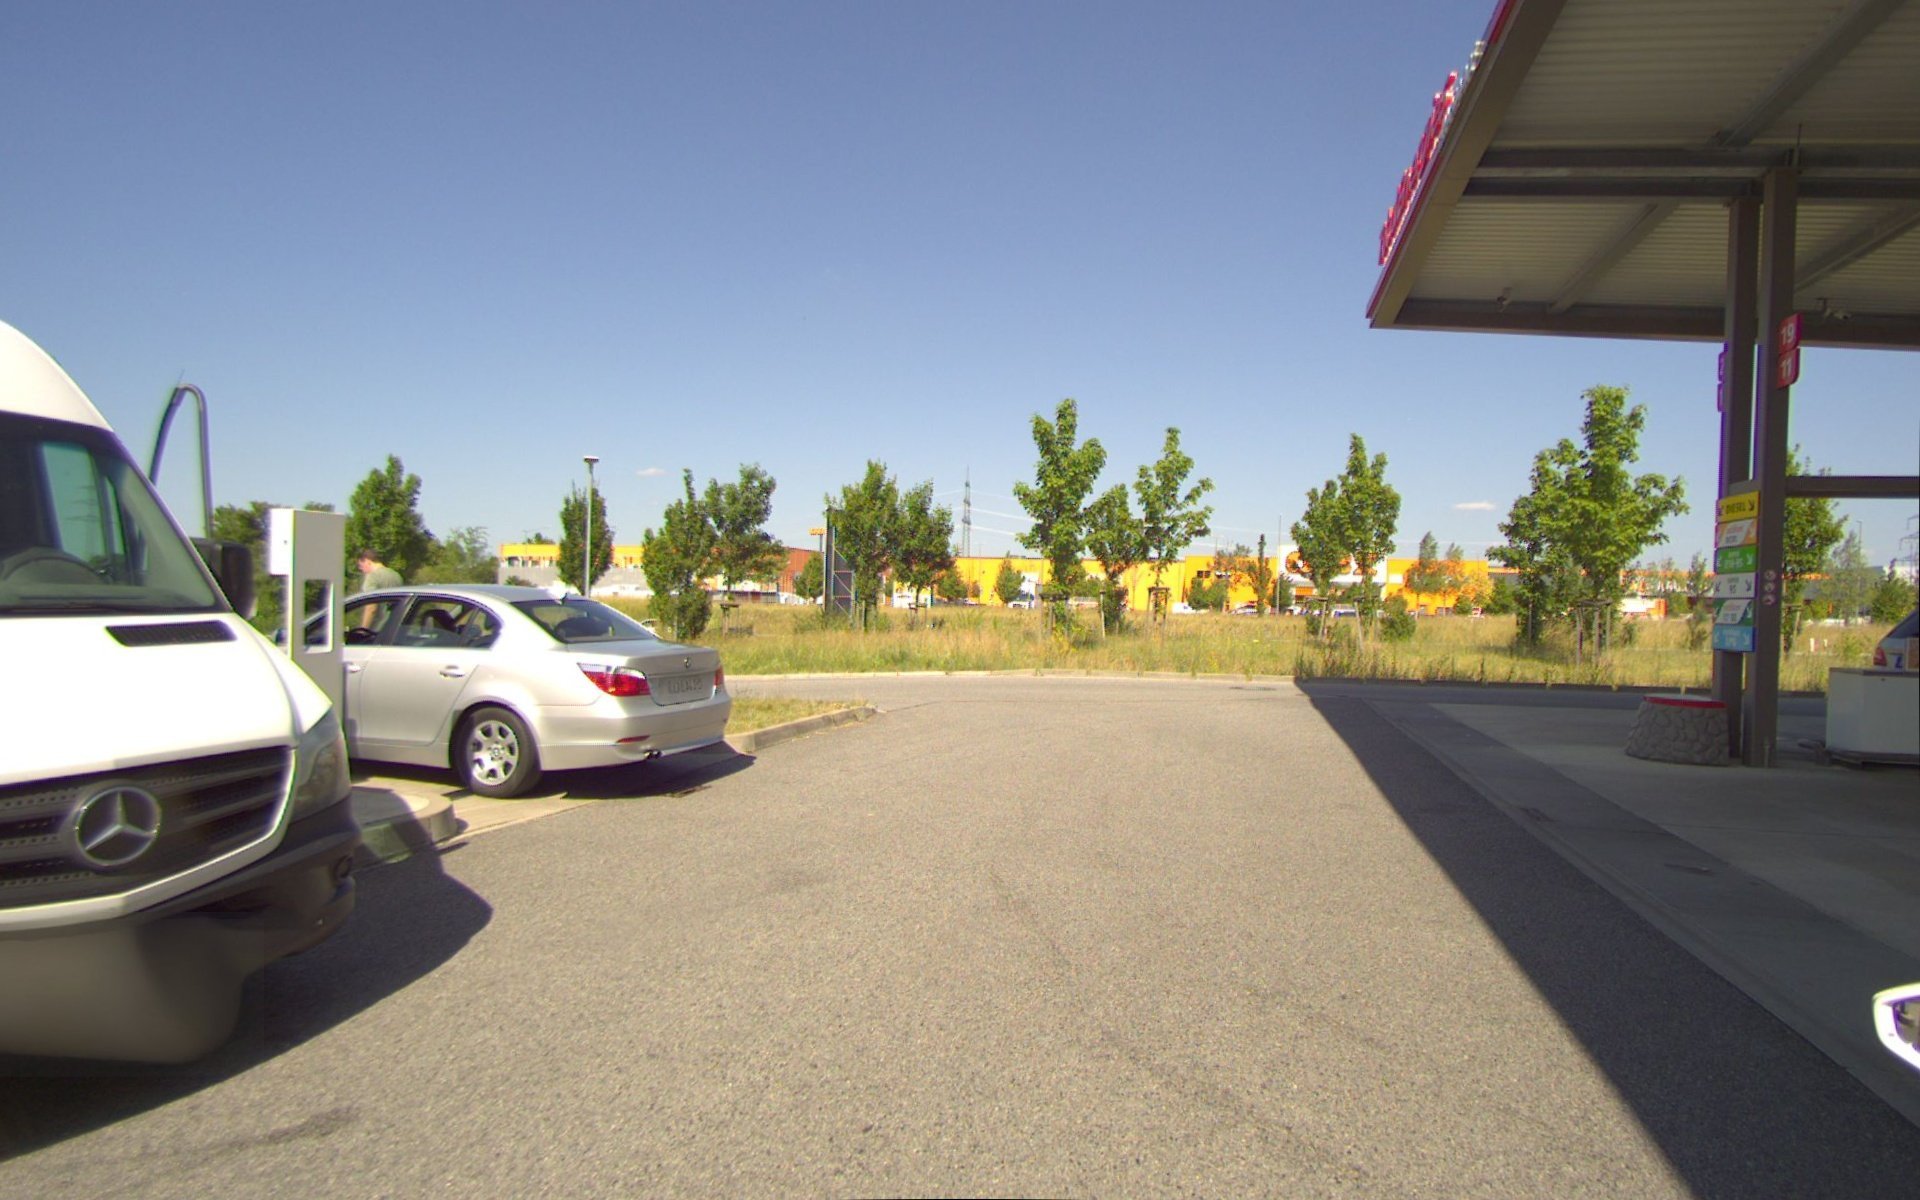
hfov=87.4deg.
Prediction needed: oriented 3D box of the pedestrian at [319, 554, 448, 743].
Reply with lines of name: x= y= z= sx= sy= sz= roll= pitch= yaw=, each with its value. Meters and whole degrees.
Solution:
pedestrian: x=-5.603 y=0.456 z=9.799 sx=0.828 sy=1.772 sz=0.709 roll=0 pitch=0 yaw=5

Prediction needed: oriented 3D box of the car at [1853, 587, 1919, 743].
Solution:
car: x=12.745 y=0.723 z=10.726 sx=4.444 sy=1.710 sz=1.867 roll=0 pitch=0 yaw=12

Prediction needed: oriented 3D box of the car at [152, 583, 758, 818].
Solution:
car: x=-3.964 y=0.655 z=8.030 sx=4.235 sy=1.447 sz=1.794 roll=2 pitch=0 yaw=17

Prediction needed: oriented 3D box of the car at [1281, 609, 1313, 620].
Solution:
car: x=45.633 y=1.923 z=136.091 sx=4.086 sy=1.490 sz=1.672 roll=0 pitch=-1 yaw=18

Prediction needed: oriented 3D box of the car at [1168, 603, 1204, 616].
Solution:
car: x=28.643 y=1.246 z=127.455 sx=4.297 sy=1.568 sz=1.794 roll=0 pitch=-1 yaw=18

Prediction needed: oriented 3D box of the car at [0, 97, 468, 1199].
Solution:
car: x=-5.327 y=0.007 z=3.895 sx=6.894 sy=2.605 sz=1.999 roll=3 pitch=0 yaw=22
